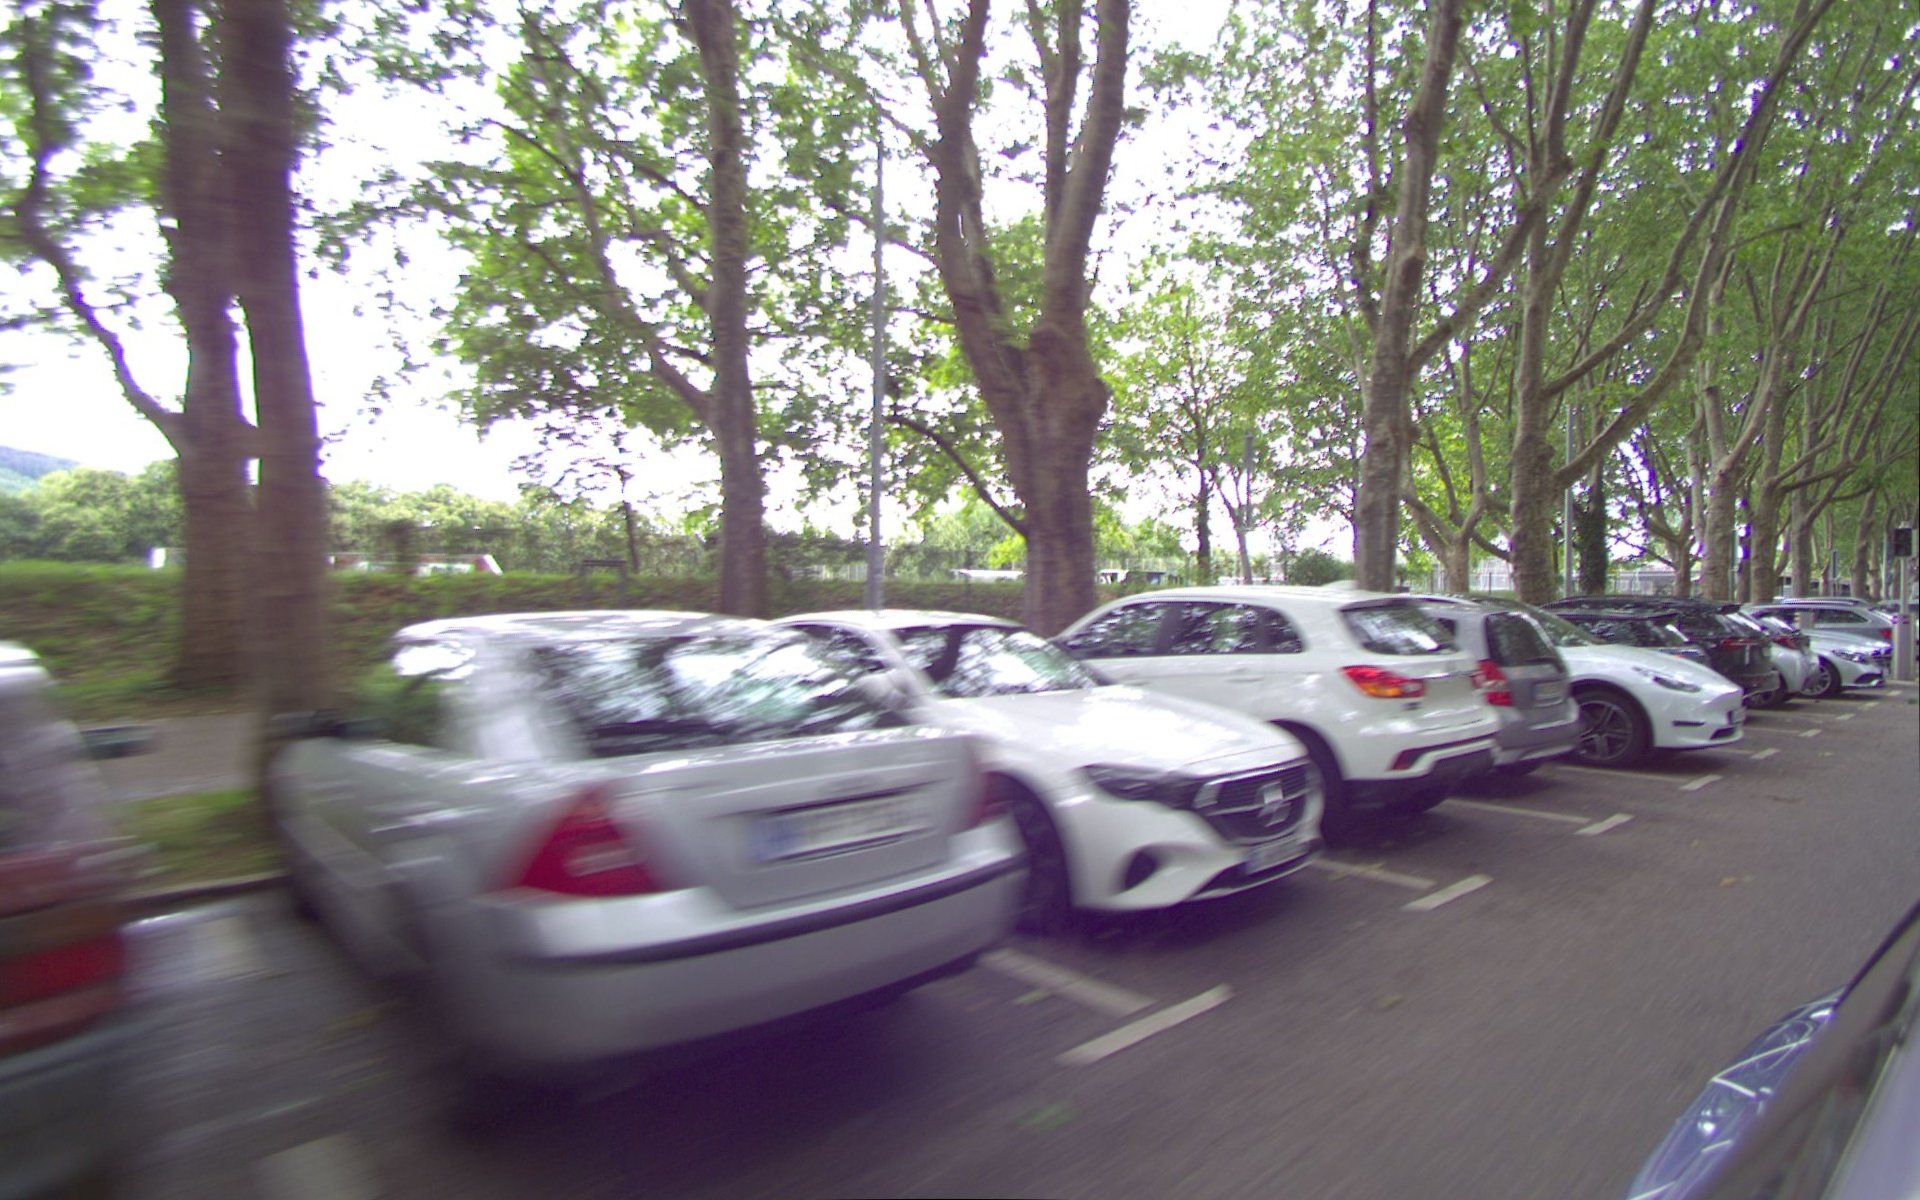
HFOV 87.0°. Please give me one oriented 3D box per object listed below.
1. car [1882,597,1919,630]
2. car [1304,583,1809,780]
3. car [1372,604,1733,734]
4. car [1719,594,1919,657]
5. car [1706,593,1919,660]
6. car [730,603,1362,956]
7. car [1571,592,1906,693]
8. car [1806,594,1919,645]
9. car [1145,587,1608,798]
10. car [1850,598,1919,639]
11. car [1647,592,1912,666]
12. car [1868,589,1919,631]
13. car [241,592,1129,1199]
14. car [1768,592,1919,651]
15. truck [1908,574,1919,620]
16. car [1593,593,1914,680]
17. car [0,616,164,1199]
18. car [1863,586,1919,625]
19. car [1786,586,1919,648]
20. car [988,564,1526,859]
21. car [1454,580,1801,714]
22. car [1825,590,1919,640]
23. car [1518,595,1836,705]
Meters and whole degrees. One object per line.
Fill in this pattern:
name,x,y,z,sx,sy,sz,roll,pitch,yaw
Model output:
car,45.750,0.603,46.762,1.674,1.545,4.507,0,-1,-42
car,5.944,0.680,10.462,1.824,1.616,4.169,0,-1,-44
car,7.293,0.758,12.707,1.494,1.389,3.648,0,-1,-44
car,21.946,0.615,25.878,1.595,1.488,3.783,0,-1,-39
car,20.539,0.594,24.464,1.638,1.488,3.781,0,-1,-41
car,0.255,0.742,5.960,1.494,1.428,3.648,0,-1,-44
car,13.001,0.641,17.113,1.597,1.488,4.300,0,-1,-44
car,27.896,0.553,29.931,1.583,1.470,4.216,0,-1,-42
car,3.618,0.683,9.342,1.613,1.538,3.655,0,-1,-37
car,33.734,0.643,35.350,1.665,1.406,3.831,0,-1,-42
car,18.092,0.607,22.529,1.595,1.488,4.372,0,-1,-41
car,41.007,0.410,42.243,1.768,1.777,4.394,0,-1,-38
car,-1.385,0.717,4.067,1.952,1.442,3.647,0,-1,-44
car,24.223,0.546,26.834,1.665,1.488,4.120,0,-1,-41
truck,60.782,-0.195,60.084,2.060,2.750,6.307,0,-1,-39
car,15.139,0.697,19.563,1.620,1.489,4.621,0,-2,-40
car,-3.275,0.781,2.695,1.494,1.442,3.427,0,-1,-44
car,37.034,0.203,38.393,1.665,1.505,3.992,0,-1,-42
car,26.118,0.460,28.560,1.664,1.691,4.120,0,-1,-40
car,2.026,0.647,7.639,1.494,1.688,3.648,0,-1,-44
car,9.252,0.578,14.217,1.791,1.618,3.778,0,-1,-44
car,31.338,0.496,33.568,1.665,1.628,3.831,0,-1,-42
car,10.961,0.685,15.649,1.597,1.488,3.778,0,-1,-44
